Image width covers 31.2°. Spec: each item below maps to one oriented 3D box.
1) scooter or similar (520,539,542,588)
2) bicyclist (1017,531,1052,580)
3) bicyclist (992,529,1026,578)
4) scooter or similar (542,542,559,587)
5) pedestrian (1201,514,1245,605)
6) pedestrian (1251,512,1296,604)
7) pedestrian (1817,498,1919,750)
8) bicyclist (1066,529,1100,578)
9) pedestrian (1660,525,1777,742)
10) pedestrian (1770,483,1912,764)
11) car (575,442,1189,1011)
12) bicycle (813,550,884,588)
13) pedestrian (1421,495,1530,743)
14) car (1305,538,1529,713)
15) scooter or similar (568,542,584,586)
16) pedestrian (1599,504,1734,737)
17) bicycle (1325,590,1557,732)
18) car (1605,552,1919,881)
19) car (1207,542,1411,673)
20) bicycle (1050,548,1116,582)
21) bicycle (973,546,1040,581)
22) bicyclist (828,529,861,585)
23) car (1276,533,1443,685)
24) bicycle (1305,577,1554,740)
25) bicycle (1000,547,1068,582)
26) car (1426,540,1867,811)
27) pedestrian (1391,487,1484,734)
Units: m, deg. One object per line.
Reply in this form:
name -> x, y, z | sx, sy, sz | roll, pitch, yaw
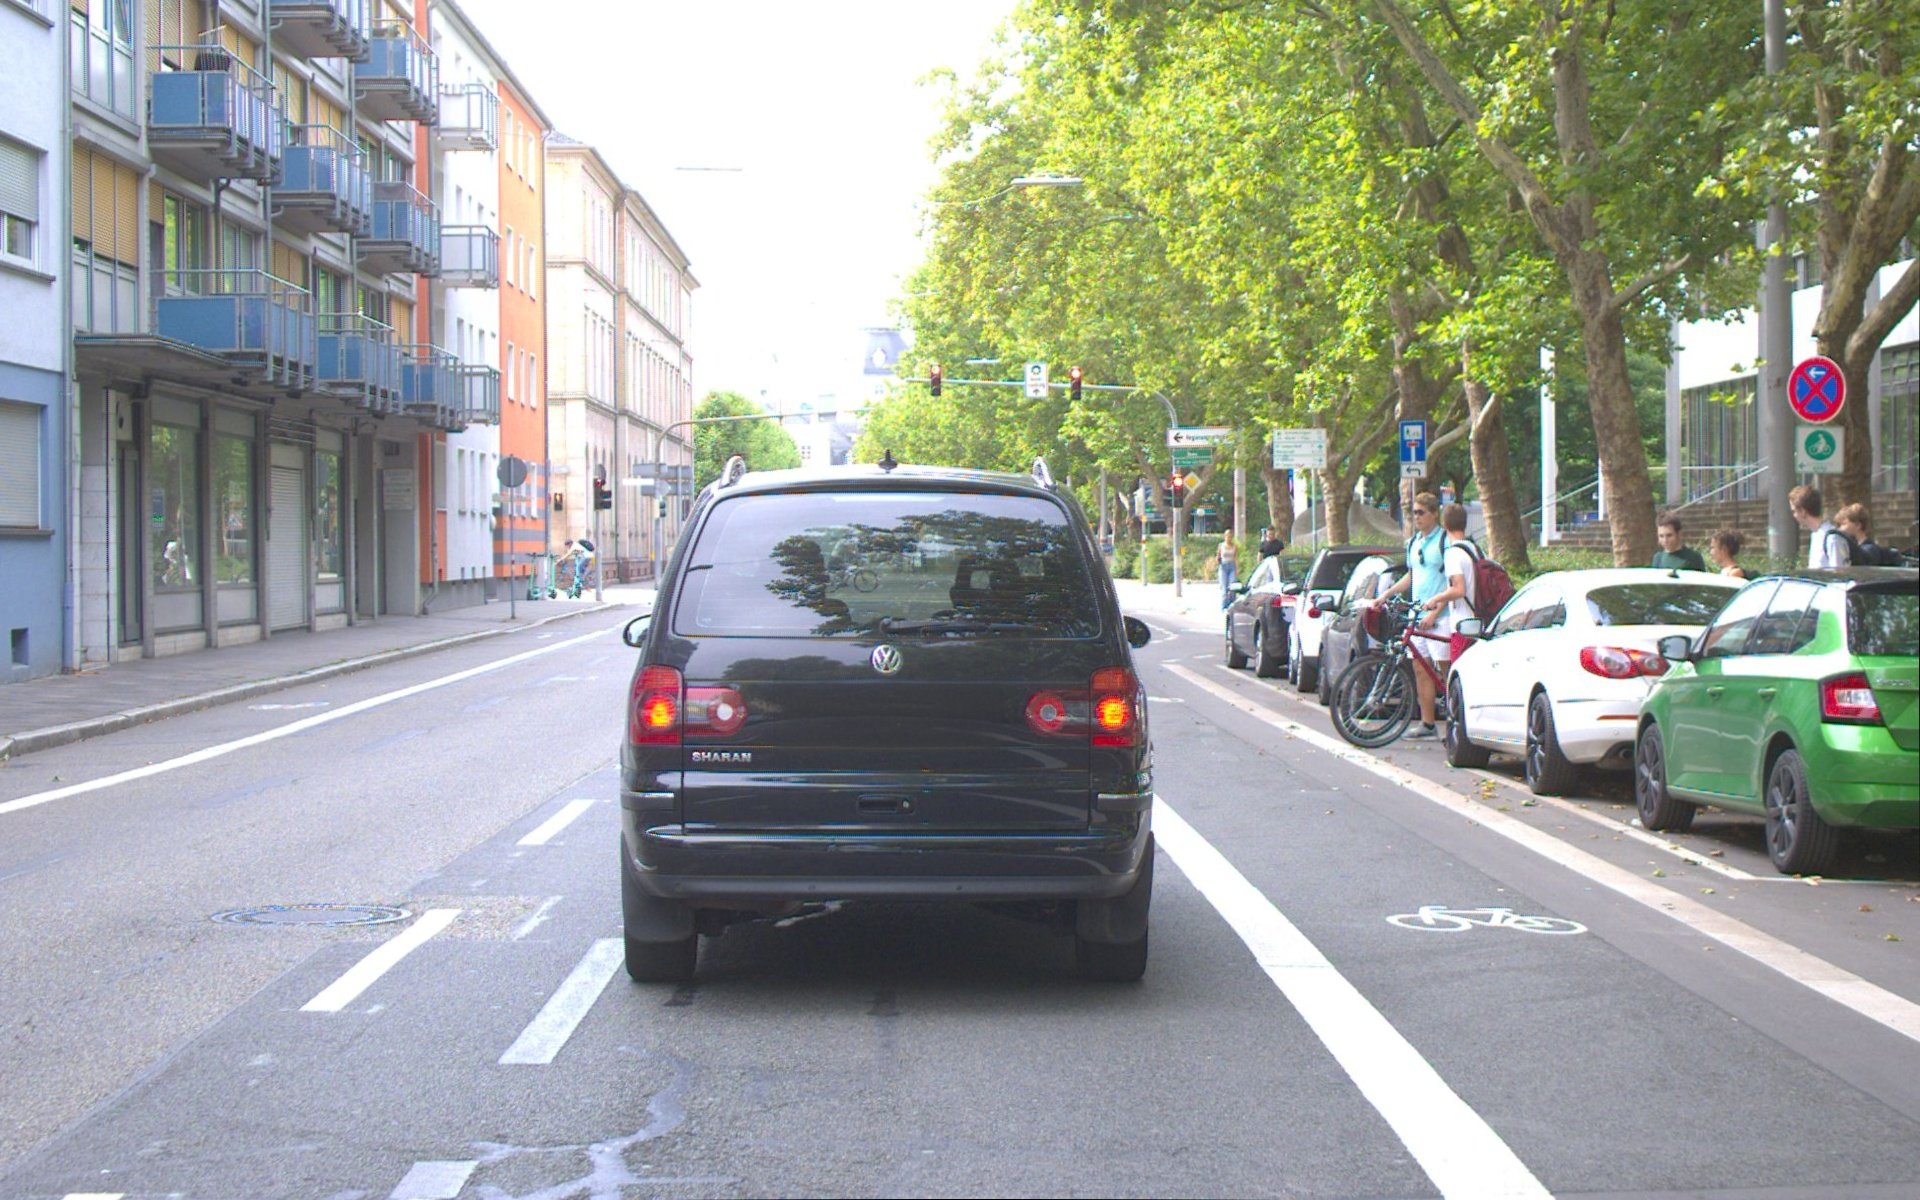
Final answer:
scooter or similar -> -10.495, -0.891, 84.057 | 0.378, 1.179, 1.390 | 0, 0, -1
bicyclist -> 2.215, -1.323, 102.351 | 0.914, 1.461, 0.570 | 1, 1, -11
bicyclist -> 1.476, -1.413, 103.907 | 0.914, 1.461, 0.570 | 1, 1, -10
scooter or similar -> -10.759, -0.930, 90.348 | 0.378, 1.143, 1.142 | 0, 0, -4
pedestrian -> 5.206, -0.804, 68.136 | 0.710, 1.777, 1.034 | -2, 1, -2
pedestrian -> 6.212, -0.828, 68.106 | 0.715, 1.794, 1.034 | -2, 1, -2
pedestrian -> 6.865, 0.174, 25.662 | 0.721, 1.848, 0.703 | 1, 1, -1
bicyclist -> 3.771, -1.430, 105.470 | 0.914, 1.461, 0.570 | 1, 1, -13
pedestrian -> 5.873, 0.251, 26.640 | 0.721, 1.652, 0.655 | 1, 1, -1
pedestrian -> 6.377, 0.160, 24.918 | 0.793, 1.990, 0.750 | 1, 1, -1
car -> -0.298, 0.337, 12.806 | 1.874, 1.739, 4.574 | 0, 1, -1
bicycle -> -3.160, -0.871, 97.062 | 1.924, 1.025, 0.583 | 1, 1, -9
pedestrian -> 3.883, 0.138, 25.928 | 0.519, 1.839, 0.745 | 1, 1, -15
car -> 4.207, 0.189, 32.081 | 1.528, 1.496, 3.660 | 1, 1, -1
scooter or similar -> -10.141, -0.940, 90.697 | 0.378, 1.140, 1.142 | 0, 0, -4
pedestrian -> 5.624, 0.155, 27.394 | 0.871, 1.810, 0.780 | 1, 1, -1
bicycle -> 3.839, 0.486, 27.479 | 1.734, 1.101, 0.552 | 1, 1, -12
car -> 4.551, 0.522, 17.480 | 1.587, 1.445, 3.806 | 2, 1, -3
car -> 4.100, 0.045, 41.018 | 1.697, 1.420, 4.423 | 1, 1, -3
bicycle -> 3.775, -1.077, 105.473 | 1.924, 1.025, 0.583 | 1, 1, -13
bicycle -> 1.408, -1.116, 103.901 | 1.924, 1.025, 0.583 | 1, 1, -10
bicyclist -> -3.253, -1.225, 97.041 | 0.855, 1.562, 0.577 | 1, 1, -9
car -> 4.250, 0.067, 36.878 | 1.535, 1.538, 2.599 | 1, 1, 2
bicycle -> 3.571, 0.444, 26.152 | 1.788, 1.213, 0.553 | 1, 1, -18
bicycle -> 2.192, -1.052, 102.365 | 1.924, 1.025, 0.583 | 1, 1, -10
car -> 4.323, 0.402, 22.374 | 1.680, 1.511, 4.545 | 2, 1, -3
pedestrian -> 3.773, 0.075, 27.200 | 0.474, 1.928, 0.745 | 1, 1, -12
